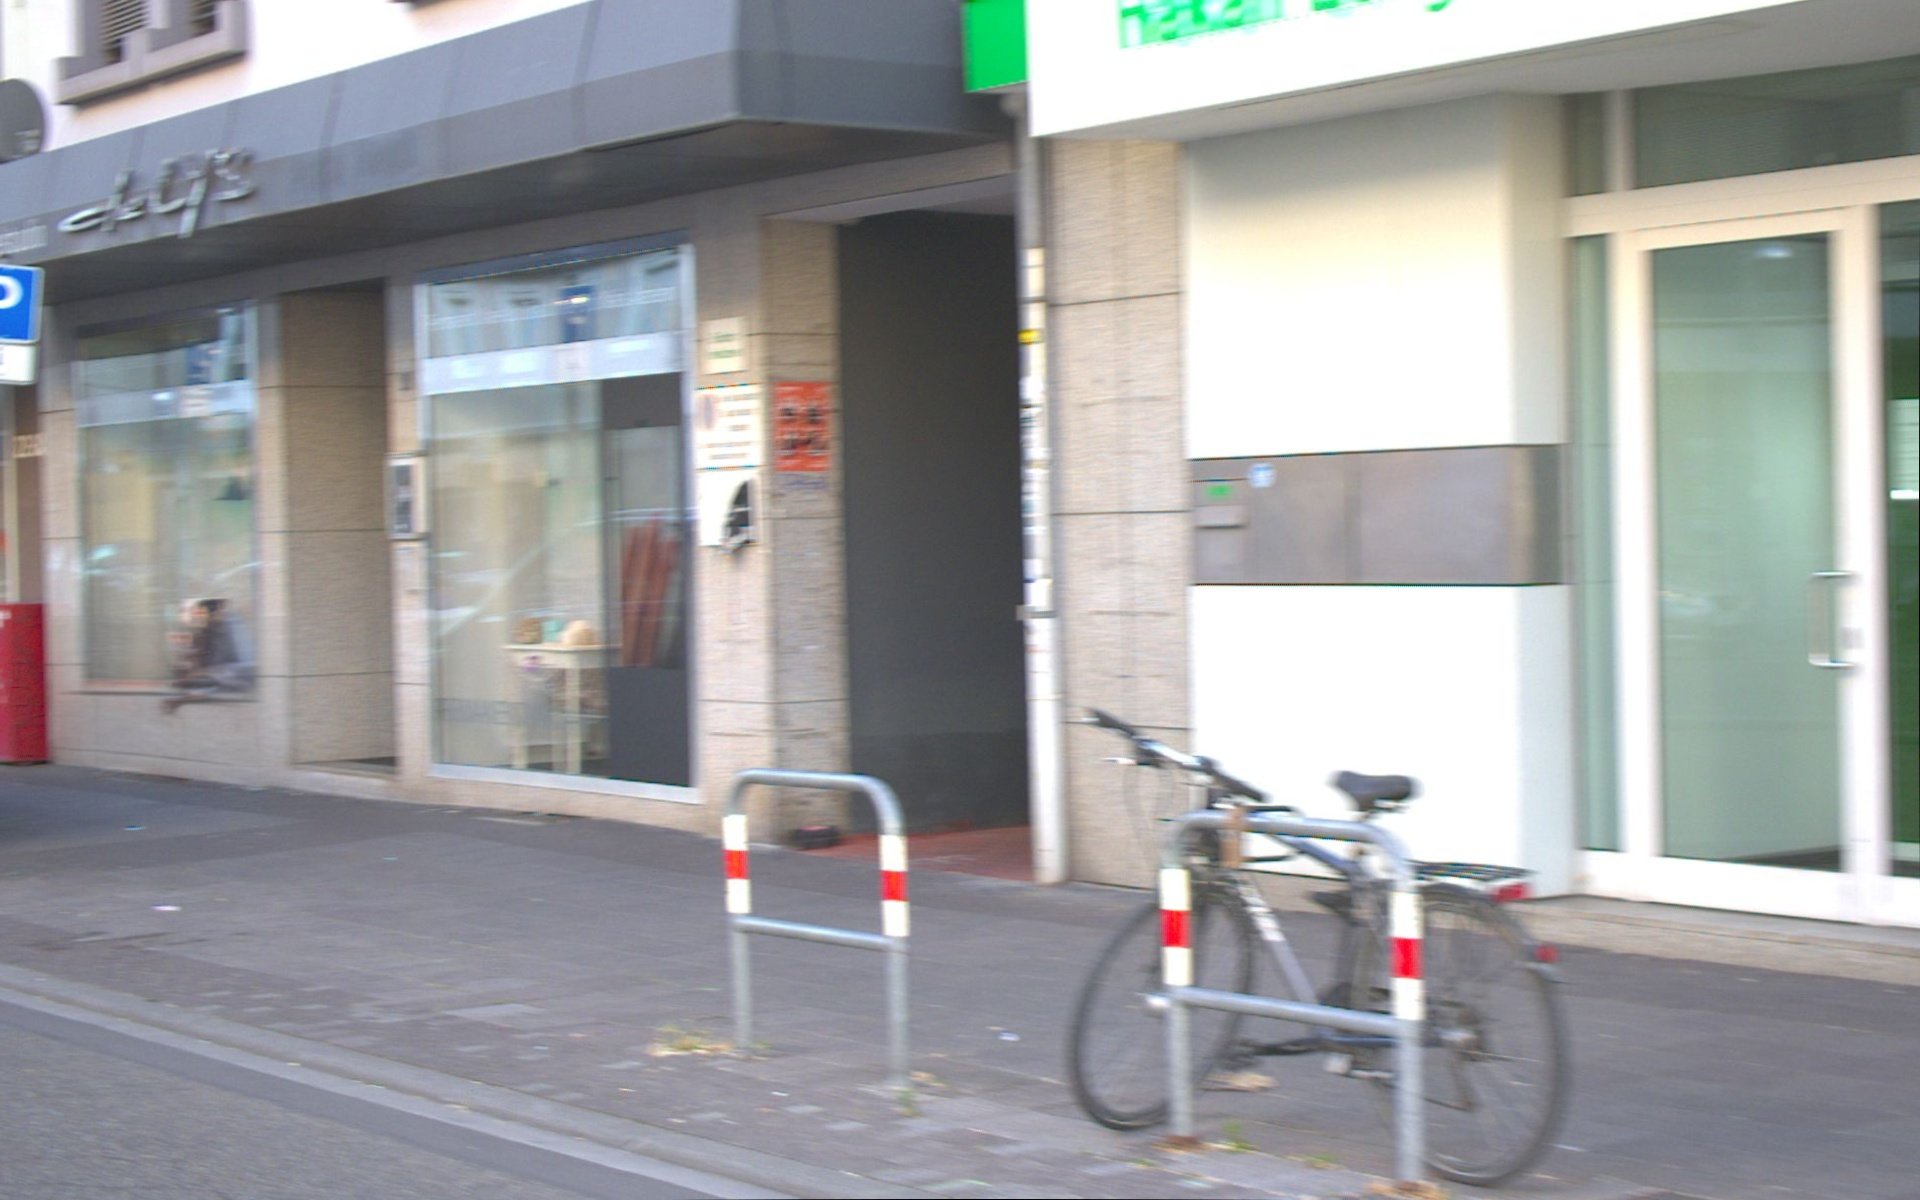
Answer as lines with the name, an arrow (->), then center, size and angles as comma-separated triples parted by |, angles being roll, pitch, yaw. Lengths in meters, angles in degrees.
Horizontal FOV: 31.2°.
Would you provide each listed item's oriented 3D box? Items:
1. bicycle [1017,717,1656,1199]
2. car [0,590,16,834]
bicycle -> 0.874, 0.863, 8.382 | 0.478, 1.086, 1.647 | -4, 2, -38
car -> -7.063, 0.417, 19.243 | 1.915, 1.711, 4.563 | -5, 3, -35
